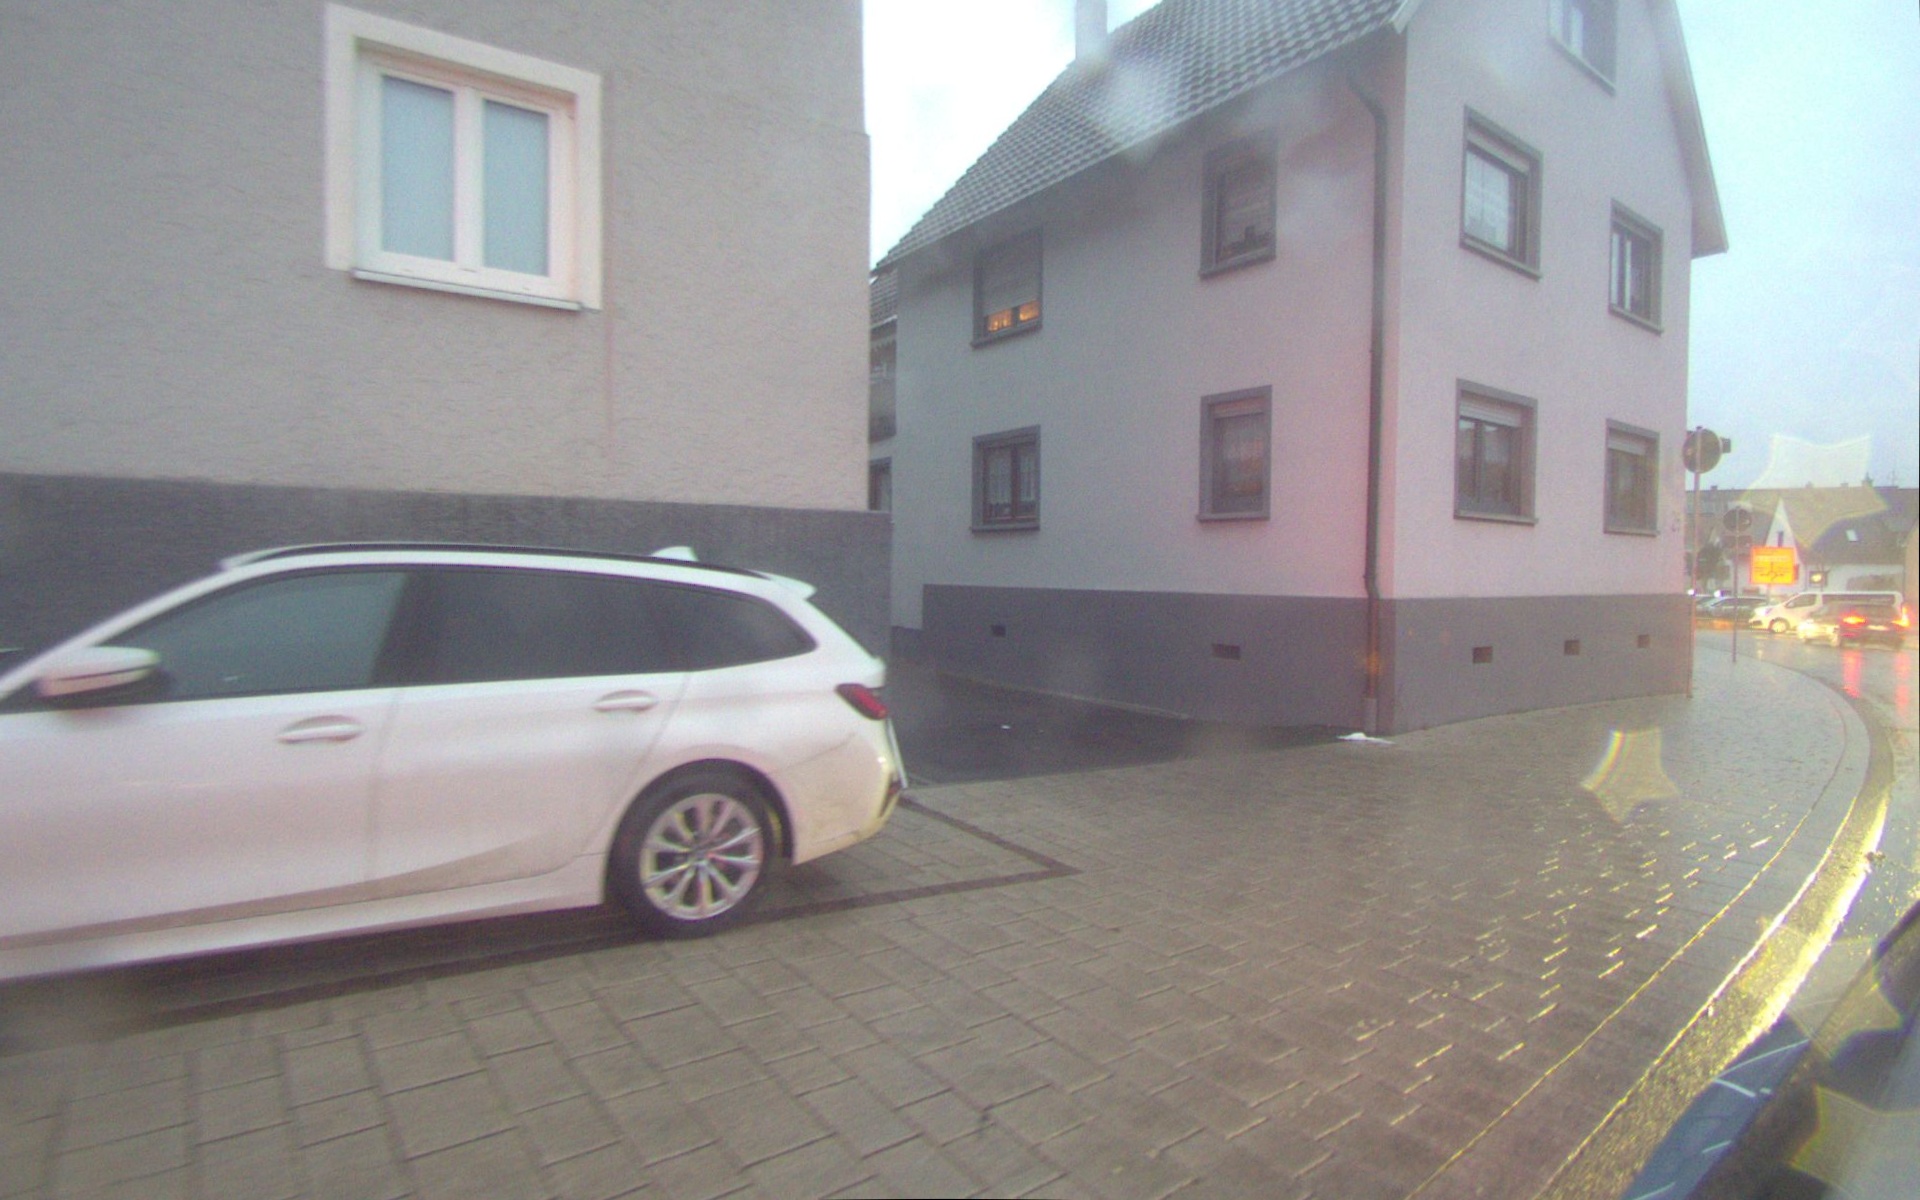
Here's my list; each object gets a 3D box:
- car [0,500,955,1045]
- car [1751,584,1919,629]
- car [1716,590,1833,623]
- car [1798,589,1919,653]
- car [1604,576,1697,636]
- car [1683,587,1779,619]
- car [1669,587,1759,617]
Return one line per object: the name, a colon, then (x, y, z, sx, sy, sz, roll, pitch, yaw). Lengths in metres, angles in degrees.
car: (-2.432, 0.437, 3.950, 4.452, 1.484, 1.892, 1, 2, -31)
car: (39.711, 0.278, 45.975, 5.737, 1.971, 1.967, 0, -1, 33)
car: (46.605, 0.378, 58.031, 4.823, 1.705, 1.986, 2, 0, 21)
car: (30.722, 0.640, 34.552, 2.126, 1.883, 4.702, 0, 2, 26)
car: (24.849, 0.199, 36.589, 1.959, 1.984, 4.810, 2, 1, 25)
car: (49.142, 0.173, 64.586, 4.459, 1.890, 1.857, 2, 0, 19)
car: (49.973, 0.126, 67.186, 4.371, 1.824, 1.833, 2, 0, 19)
